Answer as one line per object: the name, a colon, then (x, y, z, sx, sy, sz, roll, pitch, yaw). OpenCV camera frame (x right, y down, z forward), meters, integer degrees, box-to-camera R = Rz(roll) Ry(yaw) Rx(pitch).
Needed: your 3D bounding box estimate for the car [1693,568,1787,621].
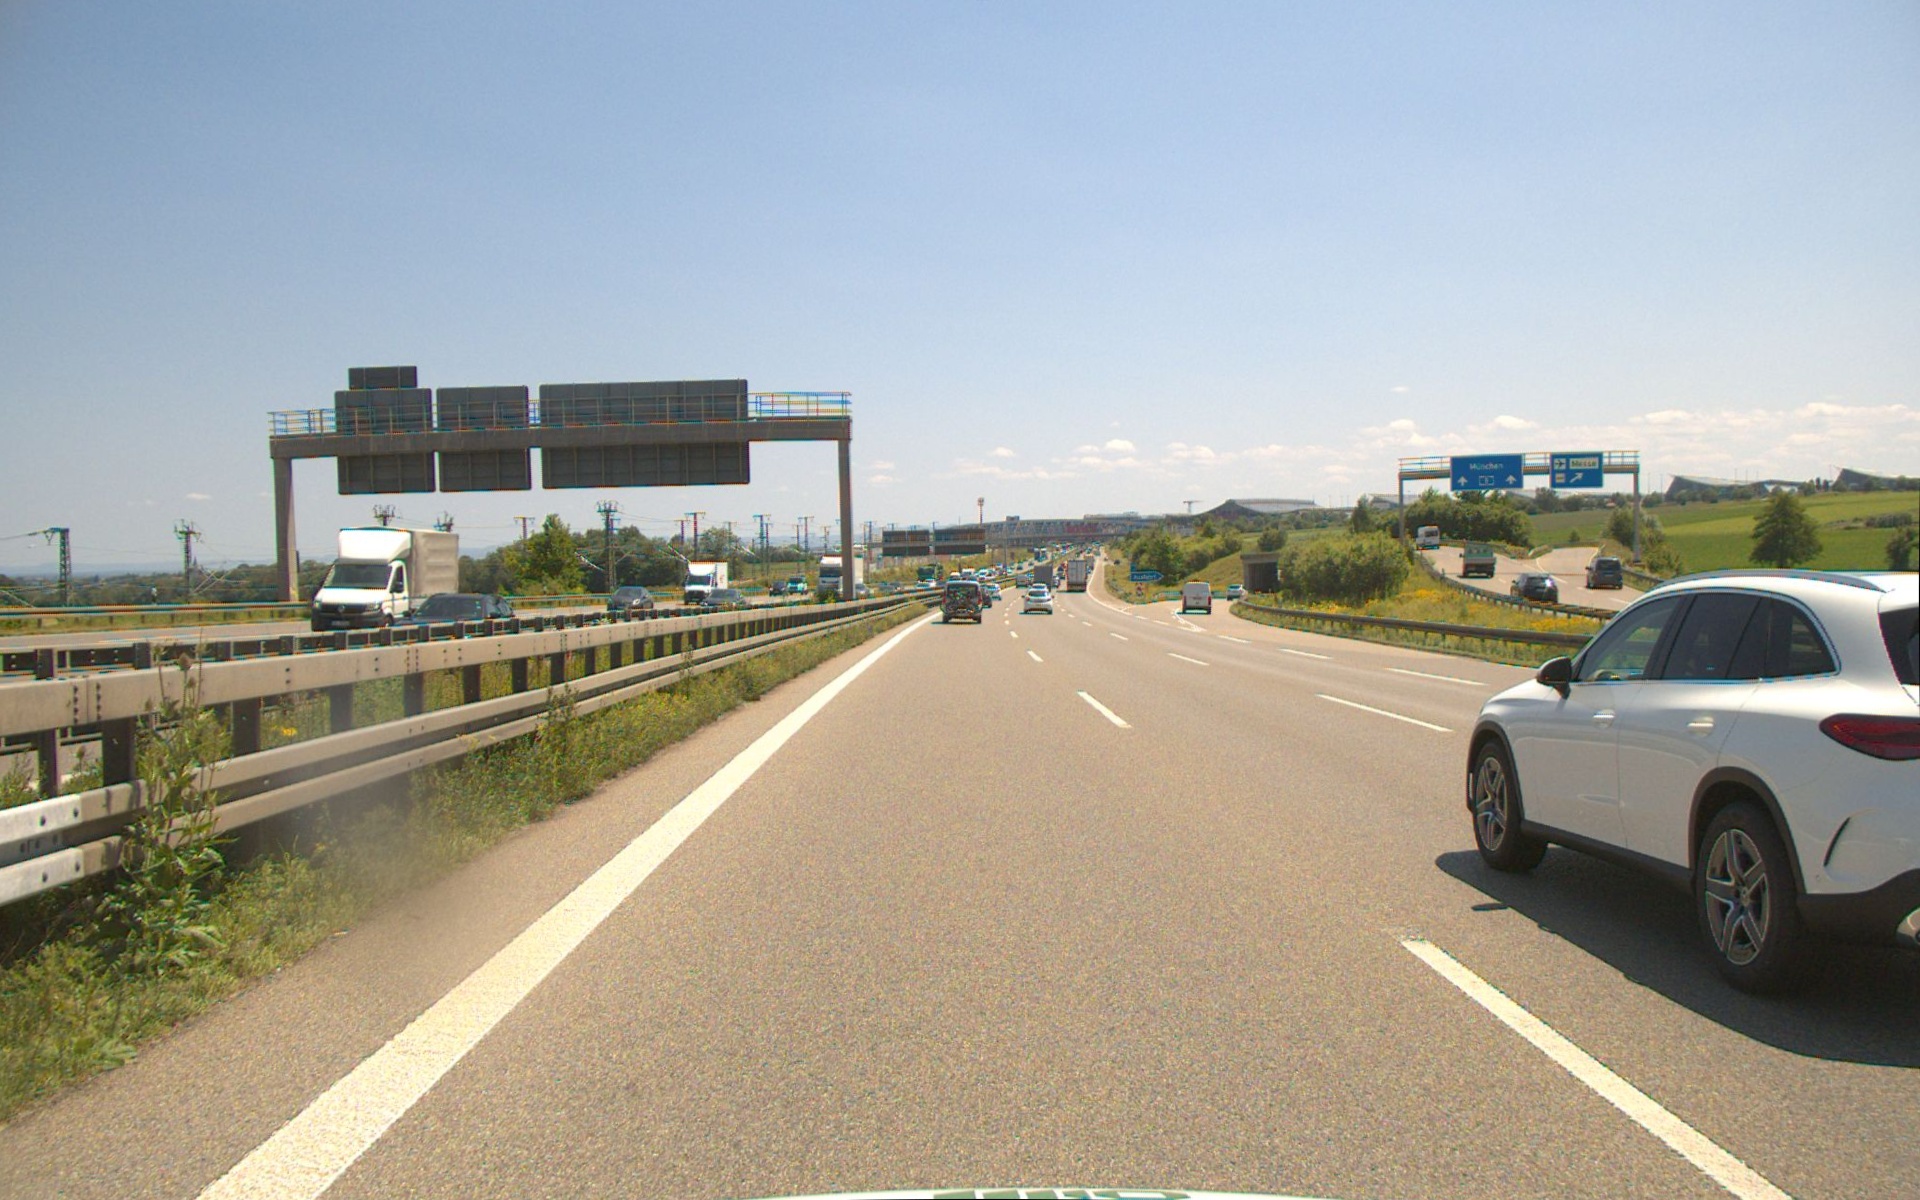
car: (29.518, -0.201, 62.698, 1.898, 1.957, 4.182, 0, 0, 5)

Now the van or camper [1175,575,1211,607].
van or camper: (15.029, -0.556, 106.521, 2.110, 2.049, 4.308, 0, 0, 11)

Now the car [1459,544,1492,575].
car: (35.600, -2.776, 114.242, 1.952, 2.049, 4.000, 0, 0, 21)

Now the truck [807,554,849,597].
truck: (-13.351, -2.493, 167.840, 3.180, 4.283, 7.697, 0, 1, 3)

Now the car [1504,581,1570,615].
car: (27.976, -0.084, 80.351, 1.952, 1.624, 4.001, 0, 0, 2)

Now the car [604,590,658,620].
car: (-16.436, 0.225, 82.852, 1.866, 1.445, 4.000, 0, 1, 0)

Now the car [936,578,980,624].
car: (-0.073, 0.033, 73.069, 1.887, 1.952, 4.948, 0, 0, 0)

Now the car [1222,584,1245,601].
car: (29.590, -0.777, 178.718, 1.951, 1.780, 4.002, 0, 0, 17)

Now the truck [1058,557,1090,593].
truck: (14.861, -3.320, 215.945, 3.955, 4.335, 11.764, 0, 2, 3)

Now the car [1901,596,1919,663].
car: (23.578, 0.707, 38.167, 1.664, 1.602, 4.130, 0, 0, 5)

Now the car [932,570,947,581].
car: (-2.644, -3.179, 216.266, 1.803, 1.485, 4.998, 0, 1, 2)

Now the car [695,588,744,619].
car: (-12.357, 0.165, 85.291, 1.753, 1.490, 4.860, 0, 1, 0)

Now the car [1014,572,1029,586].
car: (9.096, -3.155, 244.845, 2.141, 2.038, 4.001, 0, 1, 2)

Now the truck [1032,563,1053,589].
truck: (10.577, -2.996, 211.456, 2.646, 3.163, 10.663, 0, 0, 3)

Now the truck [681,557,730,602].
truck: (-18.752, -1.508, 122.354, 2.272, 3.222, 8.114, 0, 1, 1)

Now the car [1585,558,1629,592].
car: (38.260, -1.470, 97.881, 1.898, 1.957, 4.182, 0, 0, 14)

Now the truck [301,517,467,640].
truck: (-16.721, -0.570, 48.547, 2.328, 3.334, 7.659, 0, 0, -1)

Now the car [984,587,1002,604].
car: (3.073, -0.415, 151.408, 1.543, 1.579, 3.965, 0, 0, 3)

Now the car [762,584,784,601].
car: (-19.750, -0.785, 174.726, 1.767, 1.779, 4.001, 0, 0, 2)

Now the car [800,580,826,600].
car: (-11.820, -0.820, 133.522, 1.706, 1.588, 4.000, 0, 1, 0)

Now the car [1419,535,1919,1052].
car: (3.881, 0.638, 7.905, 1.860, 1.676, 4.997, 0, 0, -2)

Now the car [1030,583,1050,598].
car: (7.700, -0.908, 159.067, 1.940, 1.499, 4.002, 0, 0, 3)

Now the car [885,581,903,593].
car: (-7.854, -1.546, 196.192, 1.803, 1.485, 4.998, 0, 1, 2)

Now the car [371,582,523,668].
car: (-10.496, 0.482, 34.184, 1.712, 1.653, 4.829, 0, 0, -1)

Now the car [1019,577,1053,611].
car: (4.483, -0.332, 98.113, 1.887, 1.952, 4.518, 0, 0, 1)

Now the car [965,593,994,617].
car: (1.396, 0.363, 115.982, 1.886, 1.655, 4.519, 0, 0, 2)

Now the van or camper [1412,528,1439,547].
van or camper: (54.619, -7.365, 194.203, 2.475, 2.049, 4.464, 0, 0, 8)
